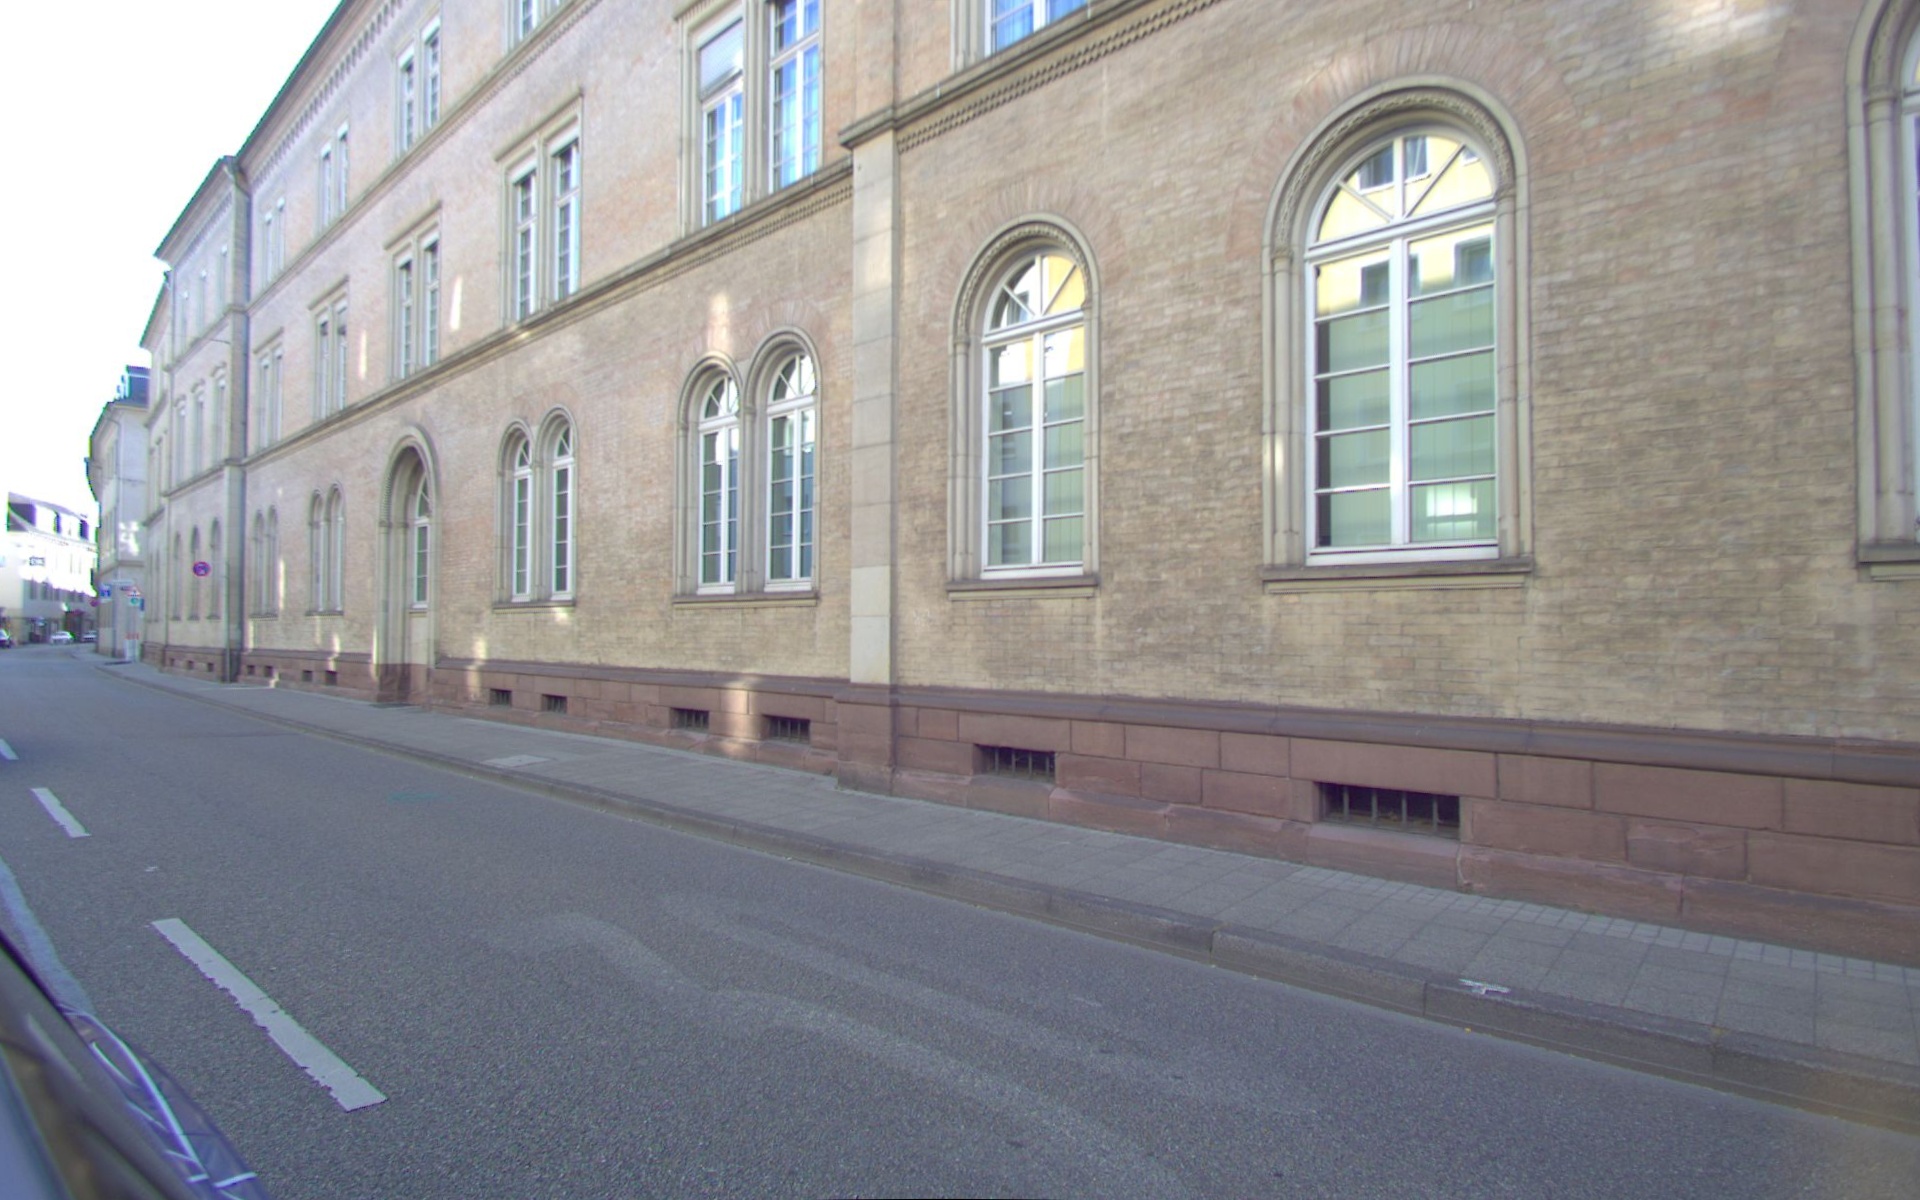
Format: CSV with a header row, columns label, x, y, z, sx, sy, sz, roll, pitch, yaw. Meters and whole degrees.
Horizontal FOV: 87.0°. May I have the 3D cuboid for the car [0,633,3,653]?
label,x,y,z,sx,sy,sz,roll,pitch,yaw
car,-86.613,3.870,89.969,1.969,1.665,4.235,-1,0,-41

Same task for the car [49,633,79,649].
label,x,y,z,sx,sy,sz,roll,pitch,yaw
car,-102.852,4.653,116.195,1.966,1.665,4.240,-1,0,-33

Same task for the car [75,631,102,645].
label,x,y,z,sx,sy,sz,roll,pitch,yaw
car,-109.225,4.728,126.849,1.966,1.665,4.240,-1,0,-33
